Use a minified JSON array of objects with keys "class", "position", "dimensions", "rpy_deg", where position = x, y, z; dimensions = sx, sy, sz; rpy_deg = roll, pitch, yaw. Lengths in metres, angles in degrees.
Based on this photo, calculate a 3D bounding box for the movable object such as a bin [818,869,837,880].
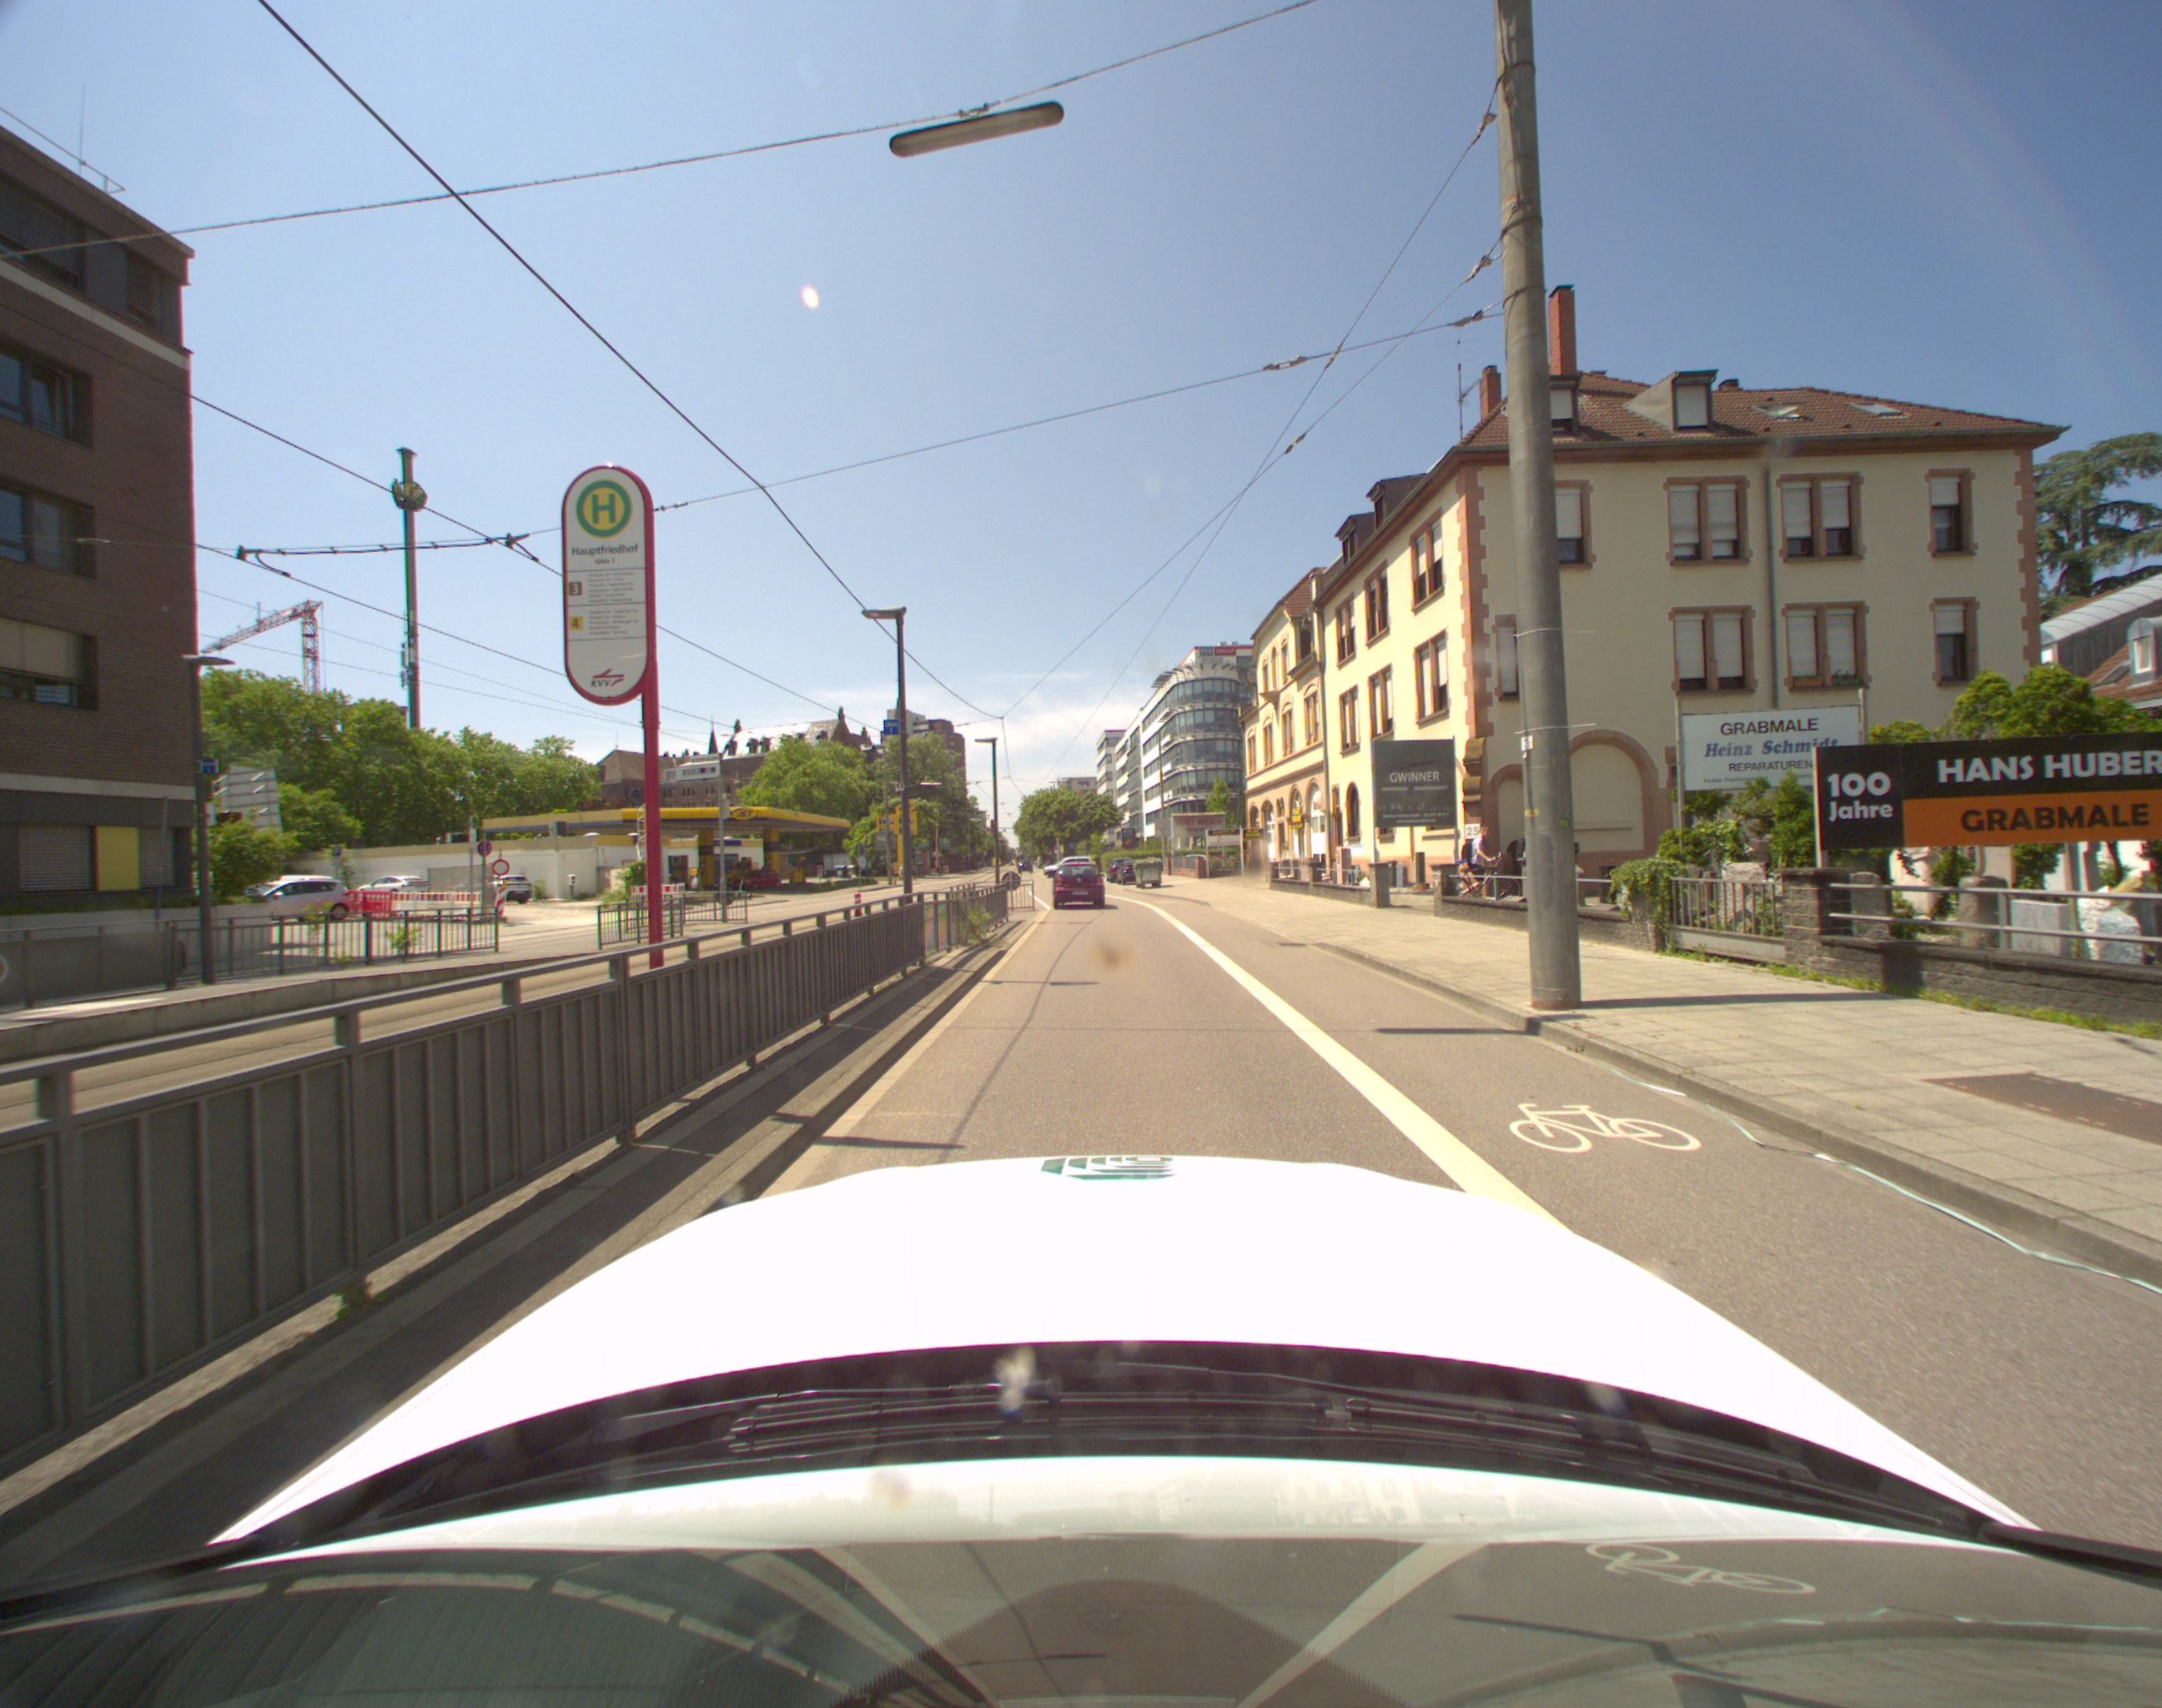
[{"class":"movable object such as a bin","position":[-29.199,2.363,93.808],"dimensions":[1.392,1.138,1.572],"rpy_deg":[-1,0,20]}]

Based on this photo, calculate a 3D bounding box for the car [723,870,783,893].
[{"class":"car","position":[-24.527,2.044,60.992],"dimensions":[1.811,1.504,4.220],"rpy_deg":[0,1,19]}]

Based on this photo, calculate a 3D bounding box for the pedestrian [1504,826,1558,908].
[{"class":"pedestrian","position":[9.602,0.271,17.395],"dimensions":[0.819,1.691,0.591],"rpy_deg":[-2,-1,11]}]

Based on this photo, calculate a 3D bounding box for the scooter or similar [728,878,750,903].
[{"class":"scooter or similar","position":[-18.362,1.961,43.726],"dimensions":[0.342,1.264,1.248],"rpy_deg":[-1,-1,21]}]

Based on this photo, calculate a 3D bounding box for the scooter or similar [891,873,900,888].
[{"class":"scooter or similar","position":[-15.437,2.210,67.817],"dimensions":[0.518,1.200,1.373],"rpy_deg":[-1,-1,-7]}]

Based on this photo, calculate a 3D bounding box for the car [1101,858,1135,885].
[{"class":"car","position":[2.584,1.217,57.938],"dimensions":[1.920,1.693,5.076],"rpy_deg":[-4,0,-3]}]

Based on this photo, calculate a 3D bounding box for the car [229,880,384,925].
[{"class":"car","position":[-29.100,1.791,30.781],"dimensions":[1.722,1.468,4.009],"rpy_deg":[-1,0,8]}]

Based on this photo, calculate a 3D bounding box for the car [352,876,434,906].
[{"class":"car","position":[-42.422,2.251,50.233],"dimensions":[4.229,1.781,2.010],"rpy_deg":[-1,0,19]}]

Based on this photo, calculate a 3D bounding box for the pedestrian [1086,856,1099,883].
[{"class":"pedestrian","position":[0.855,1.127,60.535],"dimensions":[0.783,1.960,0.586],"rpy_deg":[-2,-1,-19]}]

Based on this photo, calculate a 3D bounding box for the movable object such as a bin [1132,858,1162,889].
[{"class":"movable object such as a bin","position":[3.365,1.002,41.788],"dimensions":[1.246,1.455,1.055],"rpy_deg":[-4,0,-8]}]

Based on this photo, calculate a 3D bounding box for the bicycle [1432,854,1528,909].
[{"class":"bicycle","position":[8.958,0.603,18.316],"dimensions":[1.792,1.127,0.591],"rpy_deg":[-3,-1,7]}]

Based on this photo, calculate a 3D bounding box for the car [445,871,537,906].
[{"class":"car","position":[-31.546,1.830,43.545],"dimensions":[4.229,1.746,1.901],"rpy_deg":[-1,-1,19]}]

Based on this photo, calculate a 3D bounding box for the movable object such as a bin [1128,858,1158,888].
[{"class":"movable object such as a bin","position":[3.251,1.006,42.912],"dimensions":[1.322,1.455,1.055],"rpy_deg":[-4,0,-8]}]

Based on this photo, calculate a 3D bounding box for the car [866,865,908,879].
[{"class":"car","position":[-22.356,2.080,93.994],"dimensions":[1.910,1.488,4.479],"rpy_deg":[-1,0,35]}]

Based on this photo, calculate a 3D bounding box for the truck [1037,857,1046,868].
[{"class":"truck","position":[-9.555,2.024,197.410],"dimensions":[1.990,2.662,4.867],"rpy_deg":[-1,0,-4]}]

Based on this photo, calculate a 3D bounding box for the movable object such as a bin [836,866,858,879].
[{"class":"movable object such as a bin","position":[-26.770,2.151,93.259],"dimensions":[1.508,1.432,2.110],"rpy_deg":[-1,0,20]}]

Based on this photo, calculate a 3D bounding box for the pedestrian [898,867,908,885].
[{"class":"pedestrian","position":[-16.670,2.045,76.307],"dimensions":[0.621,1.691,0.724],"rpy_deg":[-2,-1,7]}]

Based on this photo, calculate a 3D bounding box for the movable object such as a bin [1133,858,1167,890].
[{"class":"movable object such as a bin","position":[3.430,0.991,40.678],"dimensions":[1.391,1.455,1.136],"rpy_deg":[-4,0,-8]}]

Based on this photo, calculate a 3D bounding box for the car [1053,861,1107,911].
[{"class":"car","position":[-0.027,0.979,26.741],"dimensions":[1.614,1.486,3.999],"rpy_deg":[-1,0,0]}]

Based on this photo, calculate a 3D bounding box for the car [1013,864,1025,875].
[{"class":"car","position":[-10.545,2.608,138.432],"dimensions":[1.989,1.739,3.995],"rpy_deg":[-2,0,-4]}]

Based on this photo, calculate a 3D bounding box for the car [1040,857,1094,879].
[{"class":"car","position":[-1.284,1.264,73.066],"dimensions":[4.541,1.799,1.992],"rpy_deg":[-2,-1,-12]}]

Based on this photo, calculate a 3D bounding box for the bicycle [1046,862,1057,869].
[{"class":"bicycle","position":[-4.943,1.926,135.813],"dimensions":[1.880,1.182,0.693],"rpy_deg":[-3,-1,-5]}]

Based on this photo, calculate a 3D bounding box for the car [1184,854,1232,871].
[{"class":"car","position":[11.847,0.784,76.111],"dimensions":[4.136,1.459,1.817],"rpy_deg":[-2,0,-1]}]

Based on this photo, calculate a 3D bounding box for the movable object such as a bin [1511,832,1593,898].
[{"class":"movable object such as a bin","position":[11.424,0.265,19.805],"dimensions":[1.324,1.499,1.046],"rpy_deg":[-4,-1,1]}]

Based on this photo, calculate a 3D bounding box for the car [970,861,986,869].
[{"class":"car","position":[-27.759,3.040,219.598],"dimensions":[3.974,2.014,1.999],"rpy_deg":[-2,-1,-1]}]

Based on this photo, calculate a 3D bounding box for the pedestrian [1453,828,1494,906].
[{"class":"pedestrian","position":[9.054,0.295,18.804],"dimensions":[0.683,1.772,0.505],"rpy_deg":[-2,-1,11]}]

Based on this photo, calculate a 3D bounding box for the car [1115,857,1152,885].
[{"class":"car","position":[3.298,1.076,52.035],"dimensions":[1.769,1.548,4.461],"rpy_deg":[-4,-1,-4]}]

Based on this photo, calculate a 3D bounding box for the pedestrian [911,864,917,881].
[{"class":"pedestrian","position":[-17.099,1.877,83.291],"dimensions":[0.579,1.775,0.698],"rpy_deg":[-1,-1,-8]}]

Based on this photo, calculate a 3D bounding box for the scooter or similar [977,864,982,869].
[{"class":"scooter or similar","position":[-24.004,2.909,192.859],"dimensions":[1.094,1.155,0.523],"rpy_deg":[0,-1,-25]}]

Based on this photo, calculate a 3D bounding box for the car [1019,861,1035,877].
[{"class":"car","position":[-6.994,1.974,106.055],"dimensions":[1.990,2.014,3.993],"rpy_deg":[-1,0,-5]}]

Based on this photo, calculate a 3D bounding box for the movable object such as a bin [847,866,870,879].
[{"class":"movable object such as a bin","position":[-25.302,2.098,92.715],"dimensions":[1.508,1.509,2.110],"rpy_deg":[-1,0,20]}]
